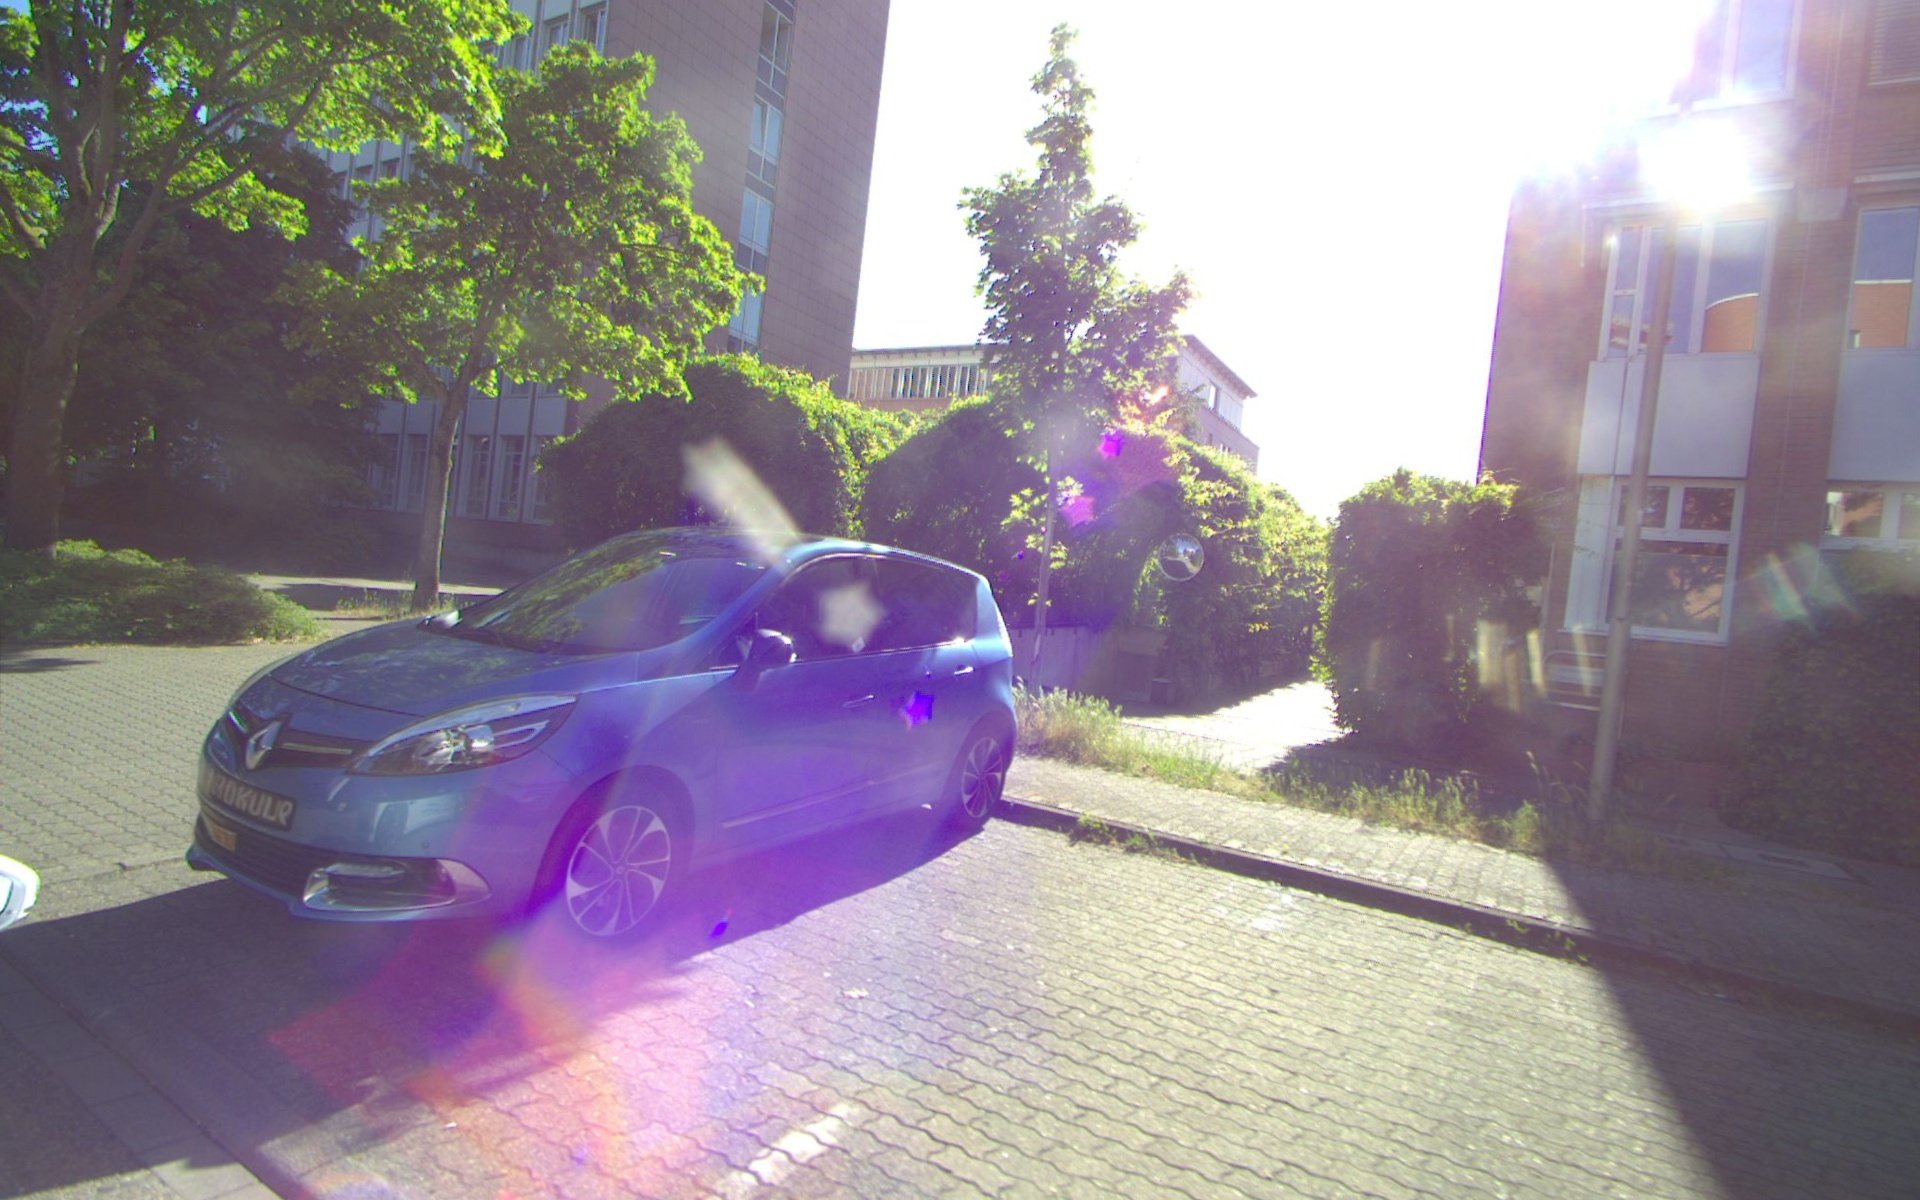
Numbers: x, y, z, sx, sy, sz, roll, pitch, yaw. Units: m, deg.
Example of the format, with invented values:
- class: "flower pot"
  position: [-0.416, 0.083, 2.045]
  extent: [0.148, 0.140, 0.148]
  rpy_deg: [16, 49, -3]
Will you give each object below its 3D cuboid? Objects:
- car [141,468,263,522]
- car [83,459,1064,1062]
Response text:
- class: "car"
  position: [-36.233, -4.996, 48.205]
  extent: [1.965, 1.803, 4.083]
  rpy_deg: [6, -2, 28]
- class: "car"
  position: [-1.321, 0.428, 5.156]
  extent: [1.880, 1.640, 4.405]
  rpy_deg: [7, 3, 31]
